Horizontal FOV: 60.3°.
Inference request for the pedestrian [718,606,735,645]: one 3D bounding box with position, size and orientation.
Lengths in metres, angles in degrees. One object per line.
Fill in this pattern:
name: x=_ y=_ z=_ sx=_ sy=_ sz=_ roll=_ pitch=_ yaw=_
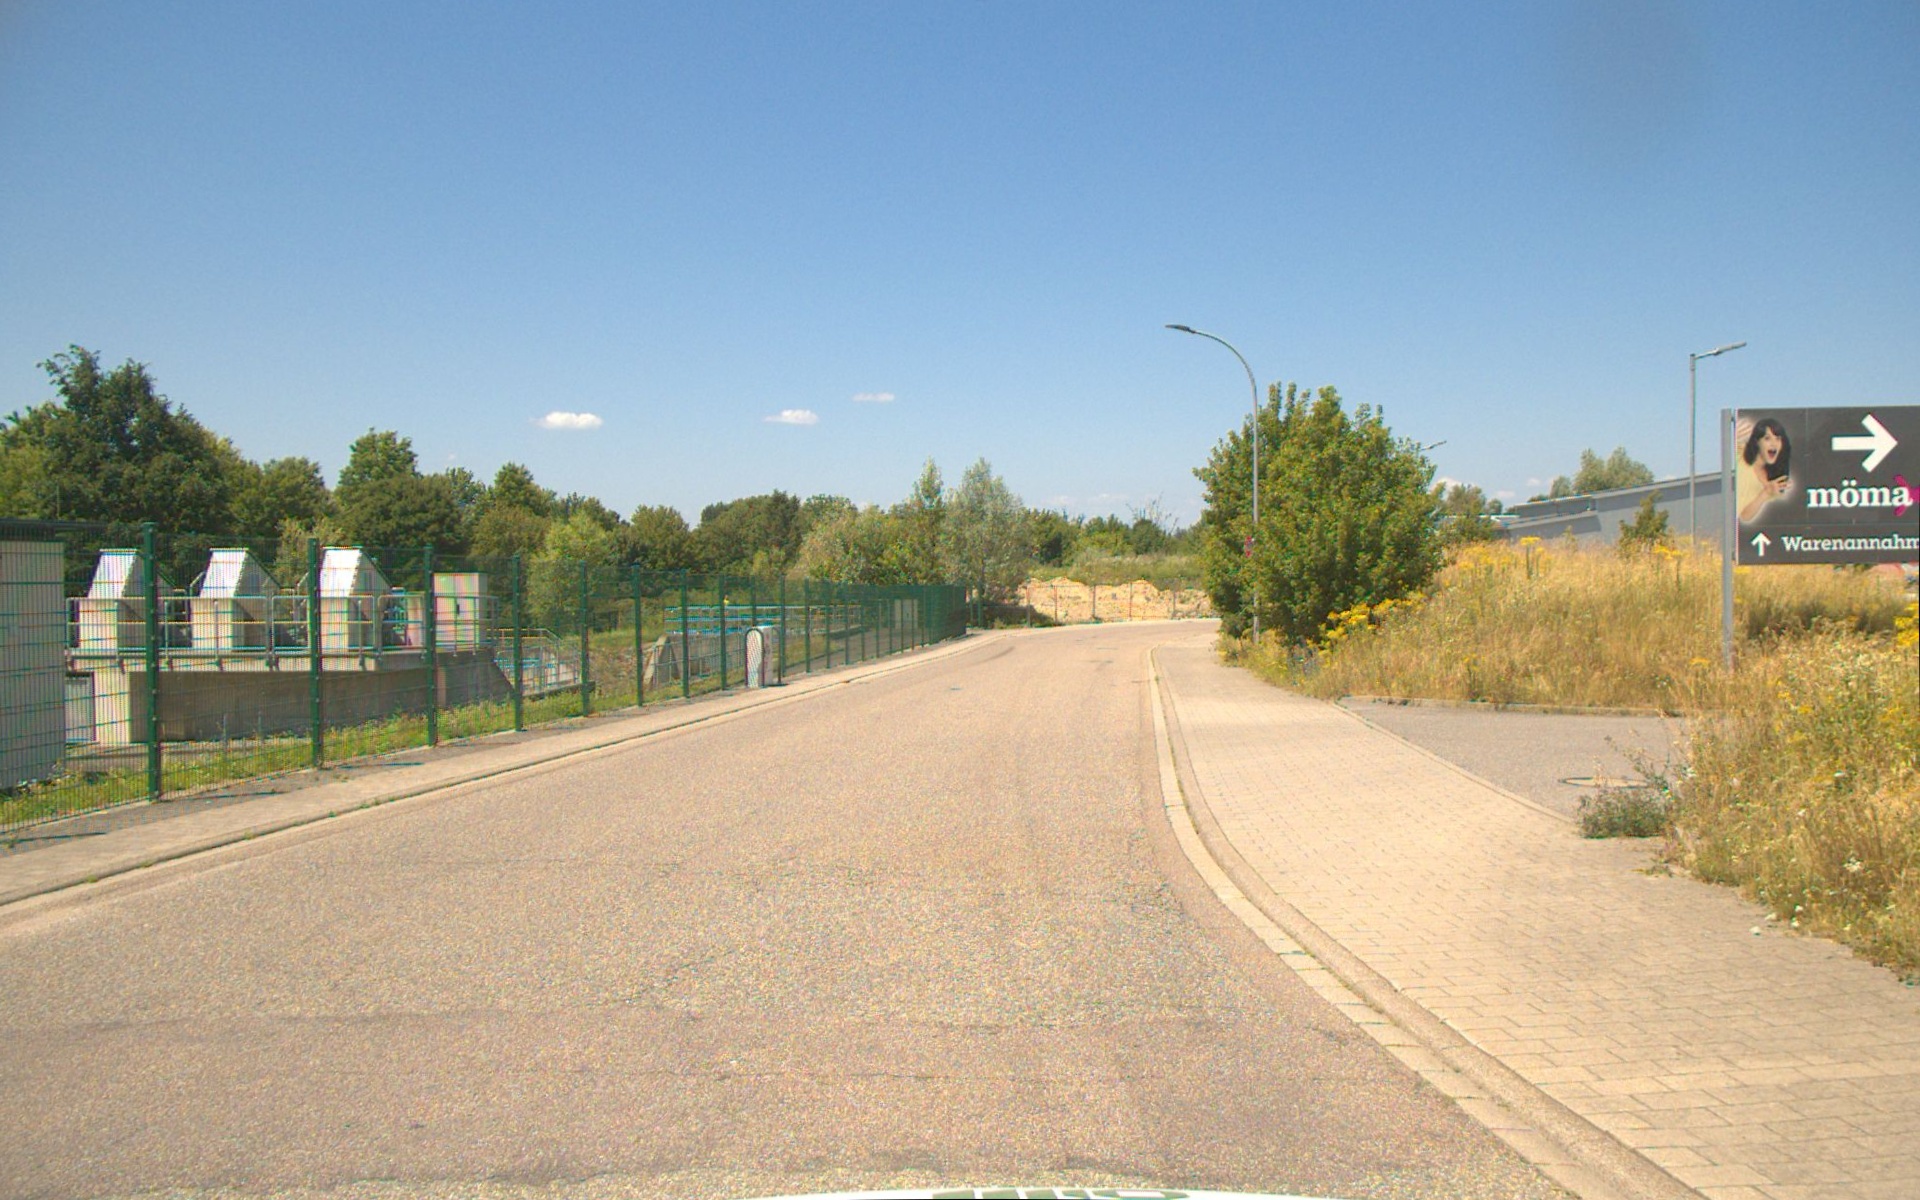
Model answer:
pedestrian: x=-11.320 y=1.229 z=80.148 sx=0.593 sy=1.871 sz=0.805 roll=-1 pitch=0 yaw=5
